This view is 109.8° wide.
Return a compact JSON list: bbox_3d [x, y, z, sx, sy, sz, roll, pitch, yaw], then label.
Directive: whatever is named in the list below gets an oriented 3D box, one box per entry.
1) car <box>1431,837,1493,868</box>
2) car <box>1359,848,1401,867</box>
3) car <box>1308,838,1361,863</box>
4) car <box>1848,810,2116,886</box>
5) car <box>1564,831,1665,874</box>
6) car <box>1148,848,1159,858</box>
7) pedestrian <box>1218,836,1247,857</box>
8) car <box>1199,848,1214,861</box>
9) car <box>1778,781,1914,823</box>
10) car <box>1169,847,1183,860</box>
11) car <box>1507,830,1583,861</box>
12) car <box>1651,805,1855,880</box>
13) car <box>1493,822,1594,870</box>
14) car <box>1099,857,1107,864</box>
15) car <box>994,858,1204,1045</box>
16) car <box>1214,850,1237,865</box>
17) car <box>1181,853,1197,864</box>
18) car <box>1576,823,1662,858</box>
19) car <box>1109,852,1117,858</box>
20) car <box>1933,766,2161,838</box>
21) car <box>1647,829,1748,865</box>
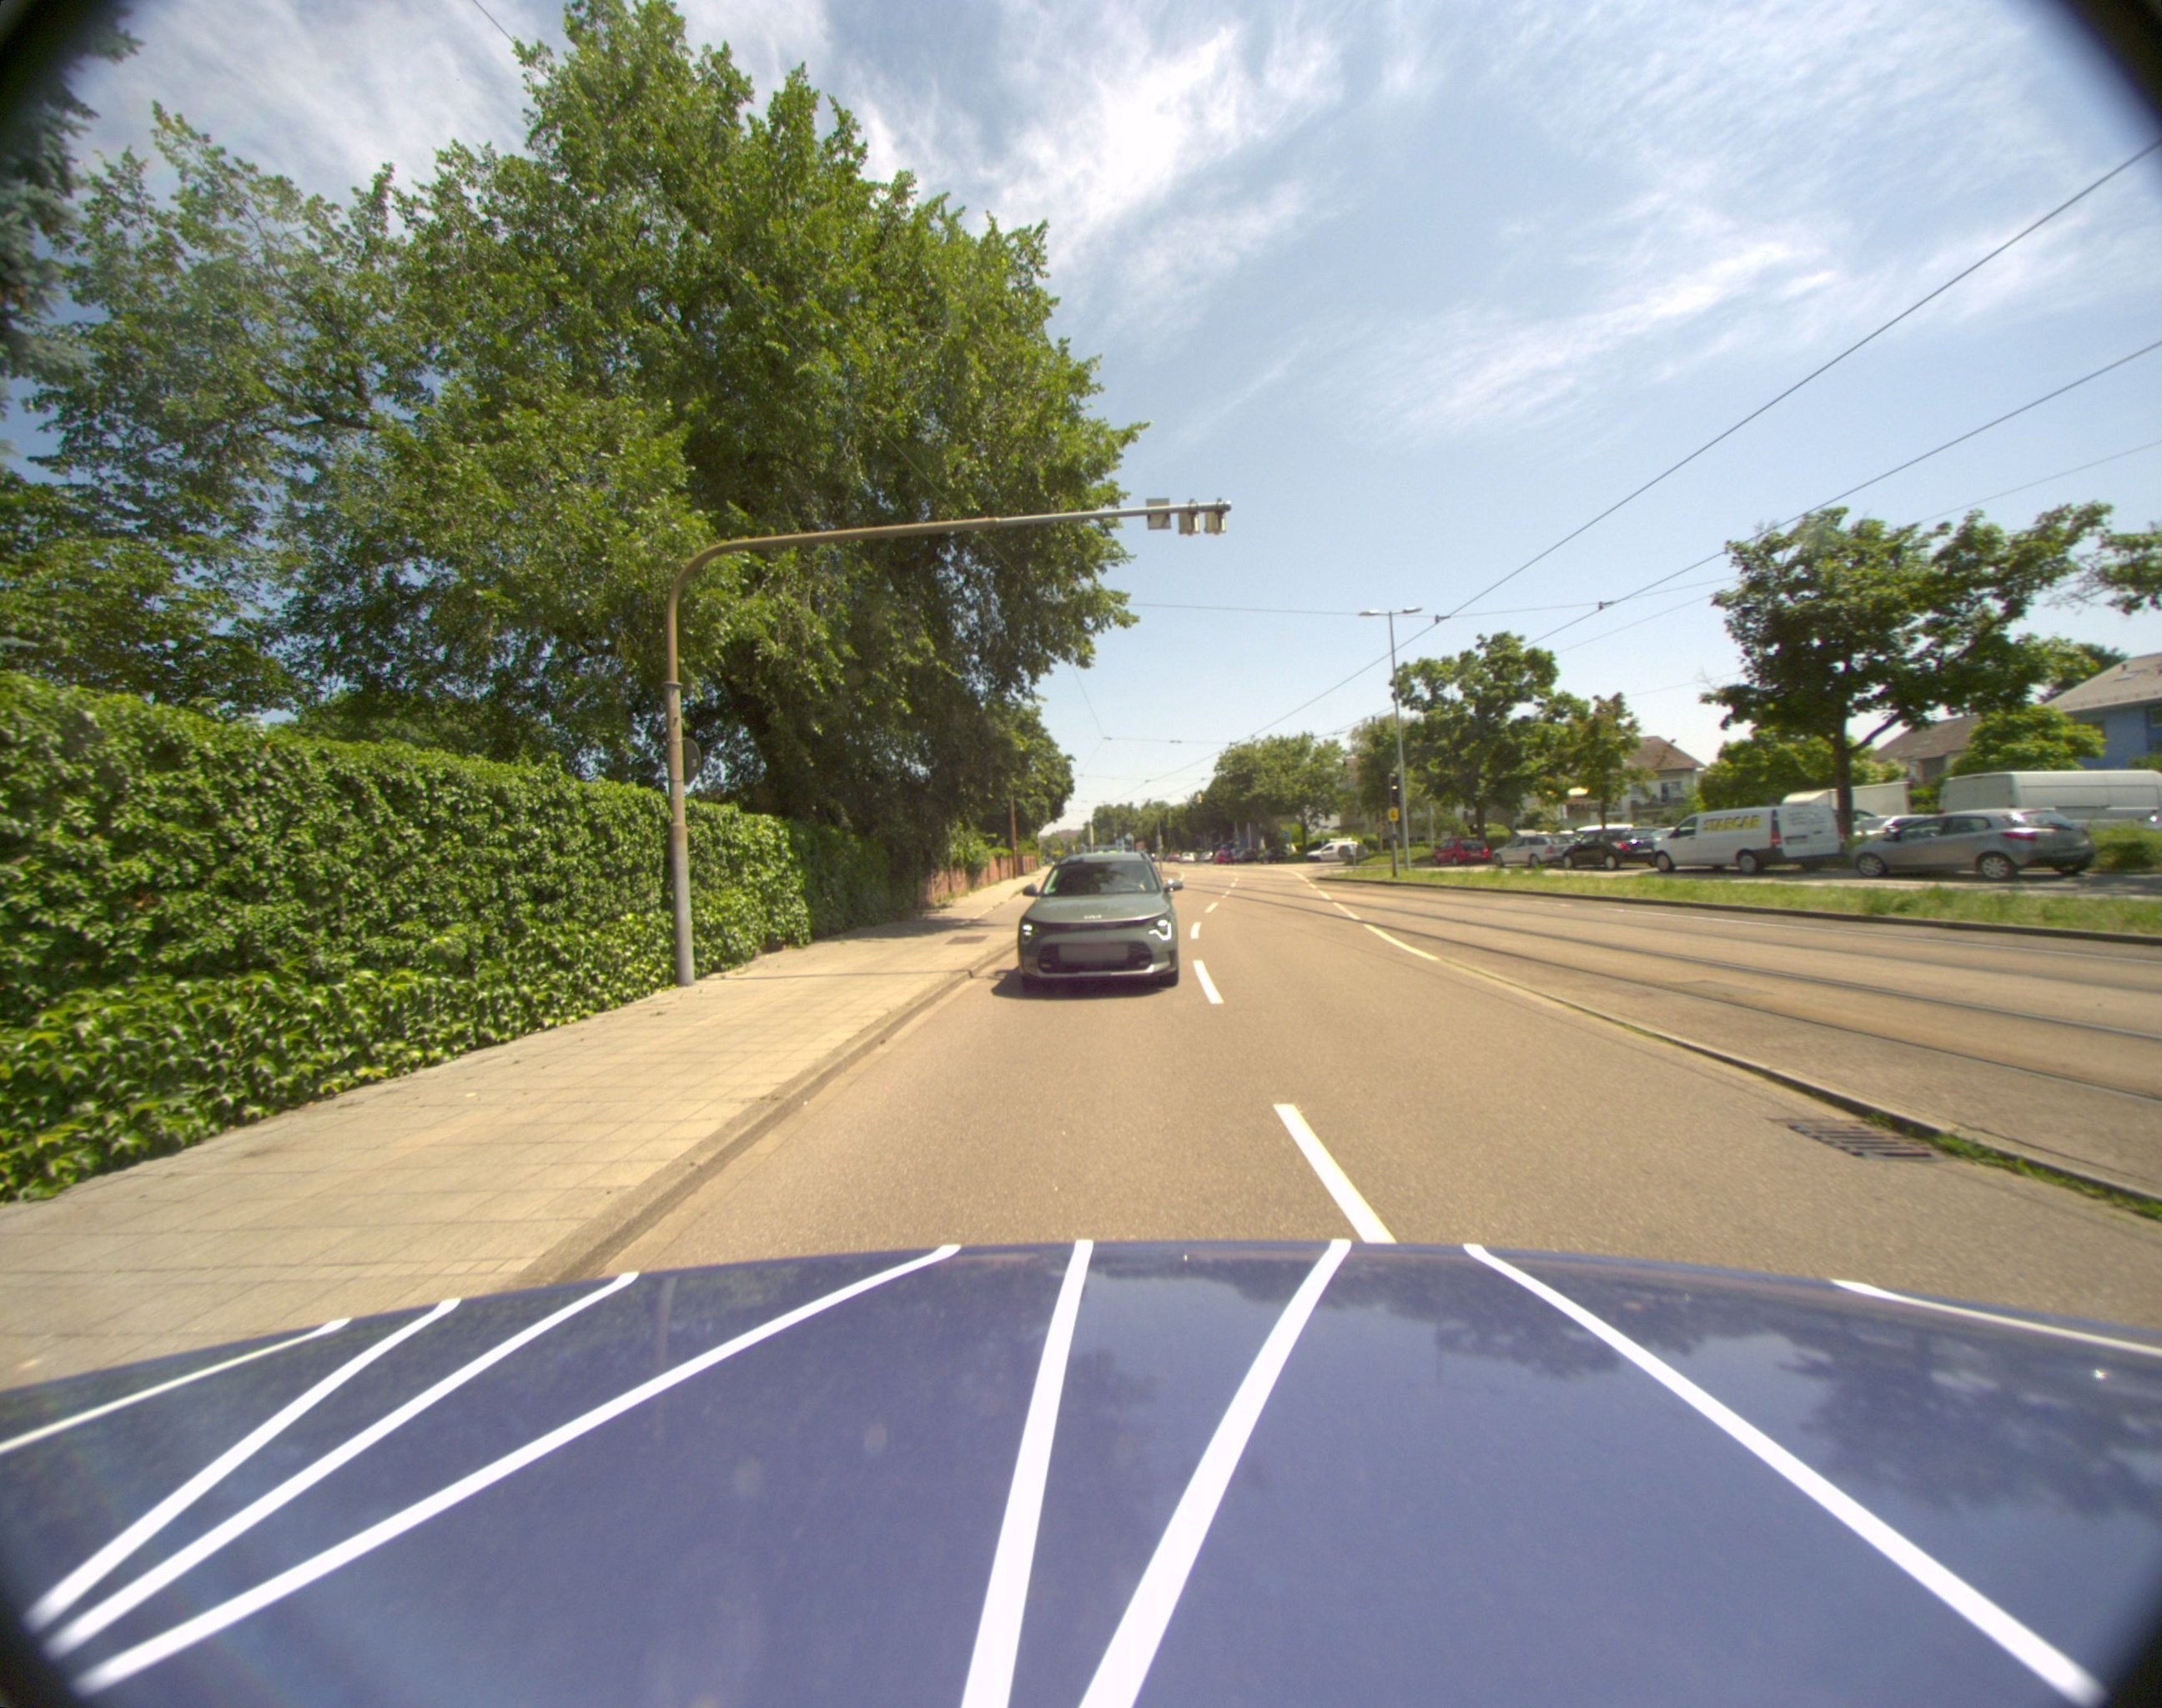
[{"bbox_3d":[19.843,-0.102,39.688,1.582,1.471,3.423,-2,1,2],"label":"car"},{"bbox_3d":[20.251,0.238,51.582,1.582,1.152,3.423,-2,1,2],"label":"car"},{"bbox_3d":[21.616,-0.322,64.939,4.206,1.979,1.823,-2,1,15],"label":"car"},{"bbox_3d":[19.868,-0.140,17.024,1.767,1.456,3.608,-2,1,1],"label":"car"},{"bbox_3d":[19.764,-0.079,28.288,1.429,1.470,3.262,-2,1,0],"label":"car"},{"bbox_3d":[14.100,-0.214,147.982,1.780,1.907,3.754,-2,1,2],"label":"car"},{"bbox_3d":[15.200,-0.744,76.393,1.999,2.002,3.999,-2,1,0],"label":"pedestrian"},{"bbox_3d":[19.189,0.037,116.515,1.703,1.842,3.983,-2,1,2],"label":"car"},{"bbox_3d":[43.706,-2.955,43.479,5.745,2.051,2.147,-2,1,-2],"label":"car"},{"bbox_3d":[15.013,-0.047,120.435,1.780,1.907,3.754,-2,1,2],"label":"car"},{"bbox_3d":[30.319,-0.562,49.706,3.999,1.863,1.715,-2,1,-6],"label":"car"},{"bbox_3d":[19.798,-0.333,22.750,1.924,1.937,4.816,-2,1,1],"label":"car"},{"bbox_3d":[19.959,-0.340,33.022,1.635,1.882,4.496,-2,1,0],"label":"car"},{"bbox_3d":[6.543,1.901,225.975,1.999,2.002,3.998,-2,1,-4],"label":"car"},{"bbox_3d":[0.135,0.895,9.026,1.824,1.577,4.287,-3,0,-1],"label":"car"},{"bbox_3d":[14.856,0.333,78.203,1.820,1.471,3.423,-2,1,2],"label":"car"},{"bbox_3d":[14.780,0.574,104.130,1.780,1.310,3.754,-2,1,2],"label":"car"},{"bbox_3d":[31.621,-0.797,44.699,3.999,1.863,1.715,-2,1,-6],"label":"car"},{"bbox_3d":[8.466,0.335,199.102,1.759,1.543,3.999,-3,0,-2],"label":"car"},{"bbox_3d":[29.870,-1.558,23.139,5.434,1.945,2.029,-2,1,2],"label":"car"},{"bbox_3d":[31.825,-0.376,39.290,3.999,1.675,1.715,-2,1,-6],"label":"car"}]
